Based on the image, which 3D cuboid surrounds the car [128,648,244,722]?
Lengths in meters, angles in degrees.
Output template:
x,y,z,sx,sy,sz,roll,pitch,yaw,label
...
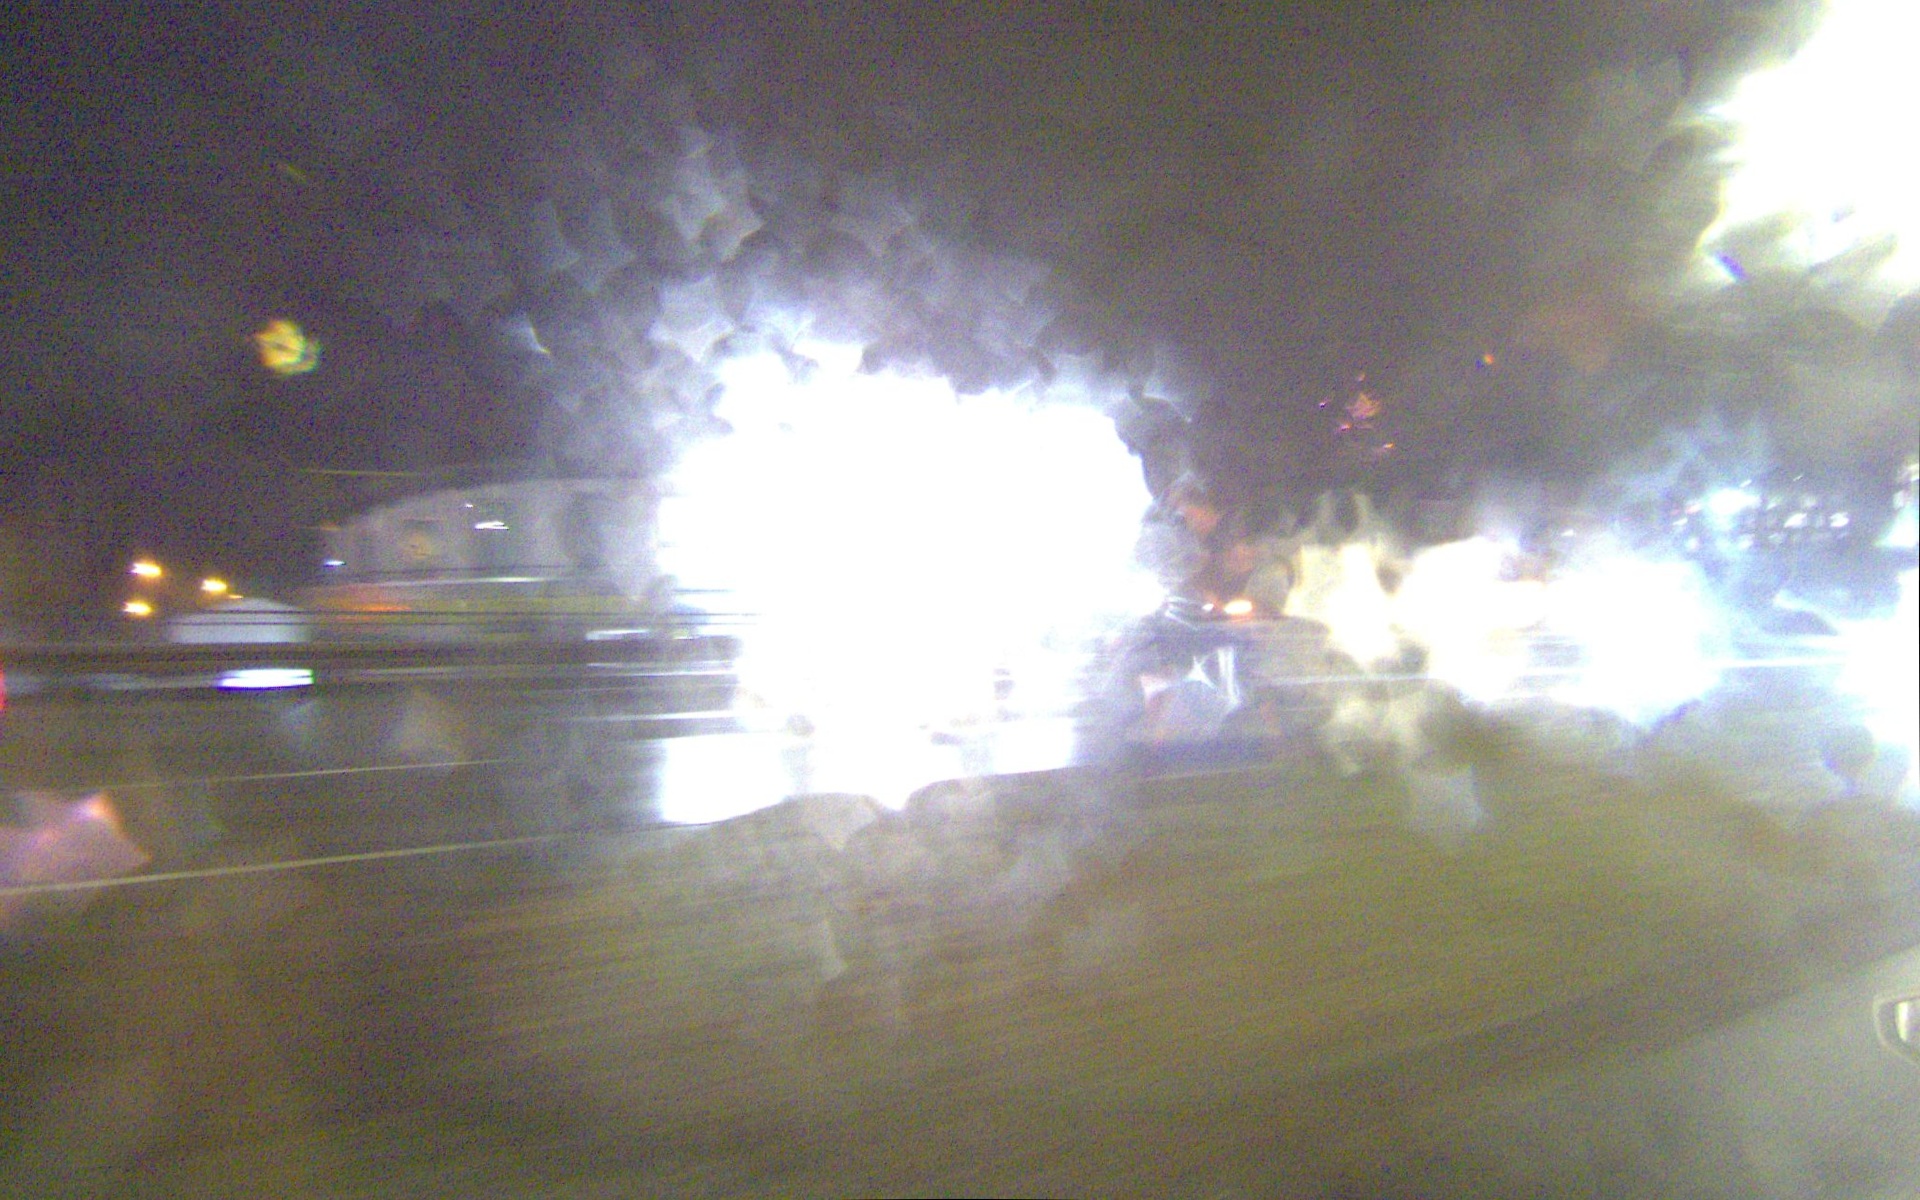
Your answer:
x,y,z,sx,sy,sz,roll,pitch,yaw,label
-20.424,2.213,26.684,1.779,1.745,4.397,0,-4,-29,car
